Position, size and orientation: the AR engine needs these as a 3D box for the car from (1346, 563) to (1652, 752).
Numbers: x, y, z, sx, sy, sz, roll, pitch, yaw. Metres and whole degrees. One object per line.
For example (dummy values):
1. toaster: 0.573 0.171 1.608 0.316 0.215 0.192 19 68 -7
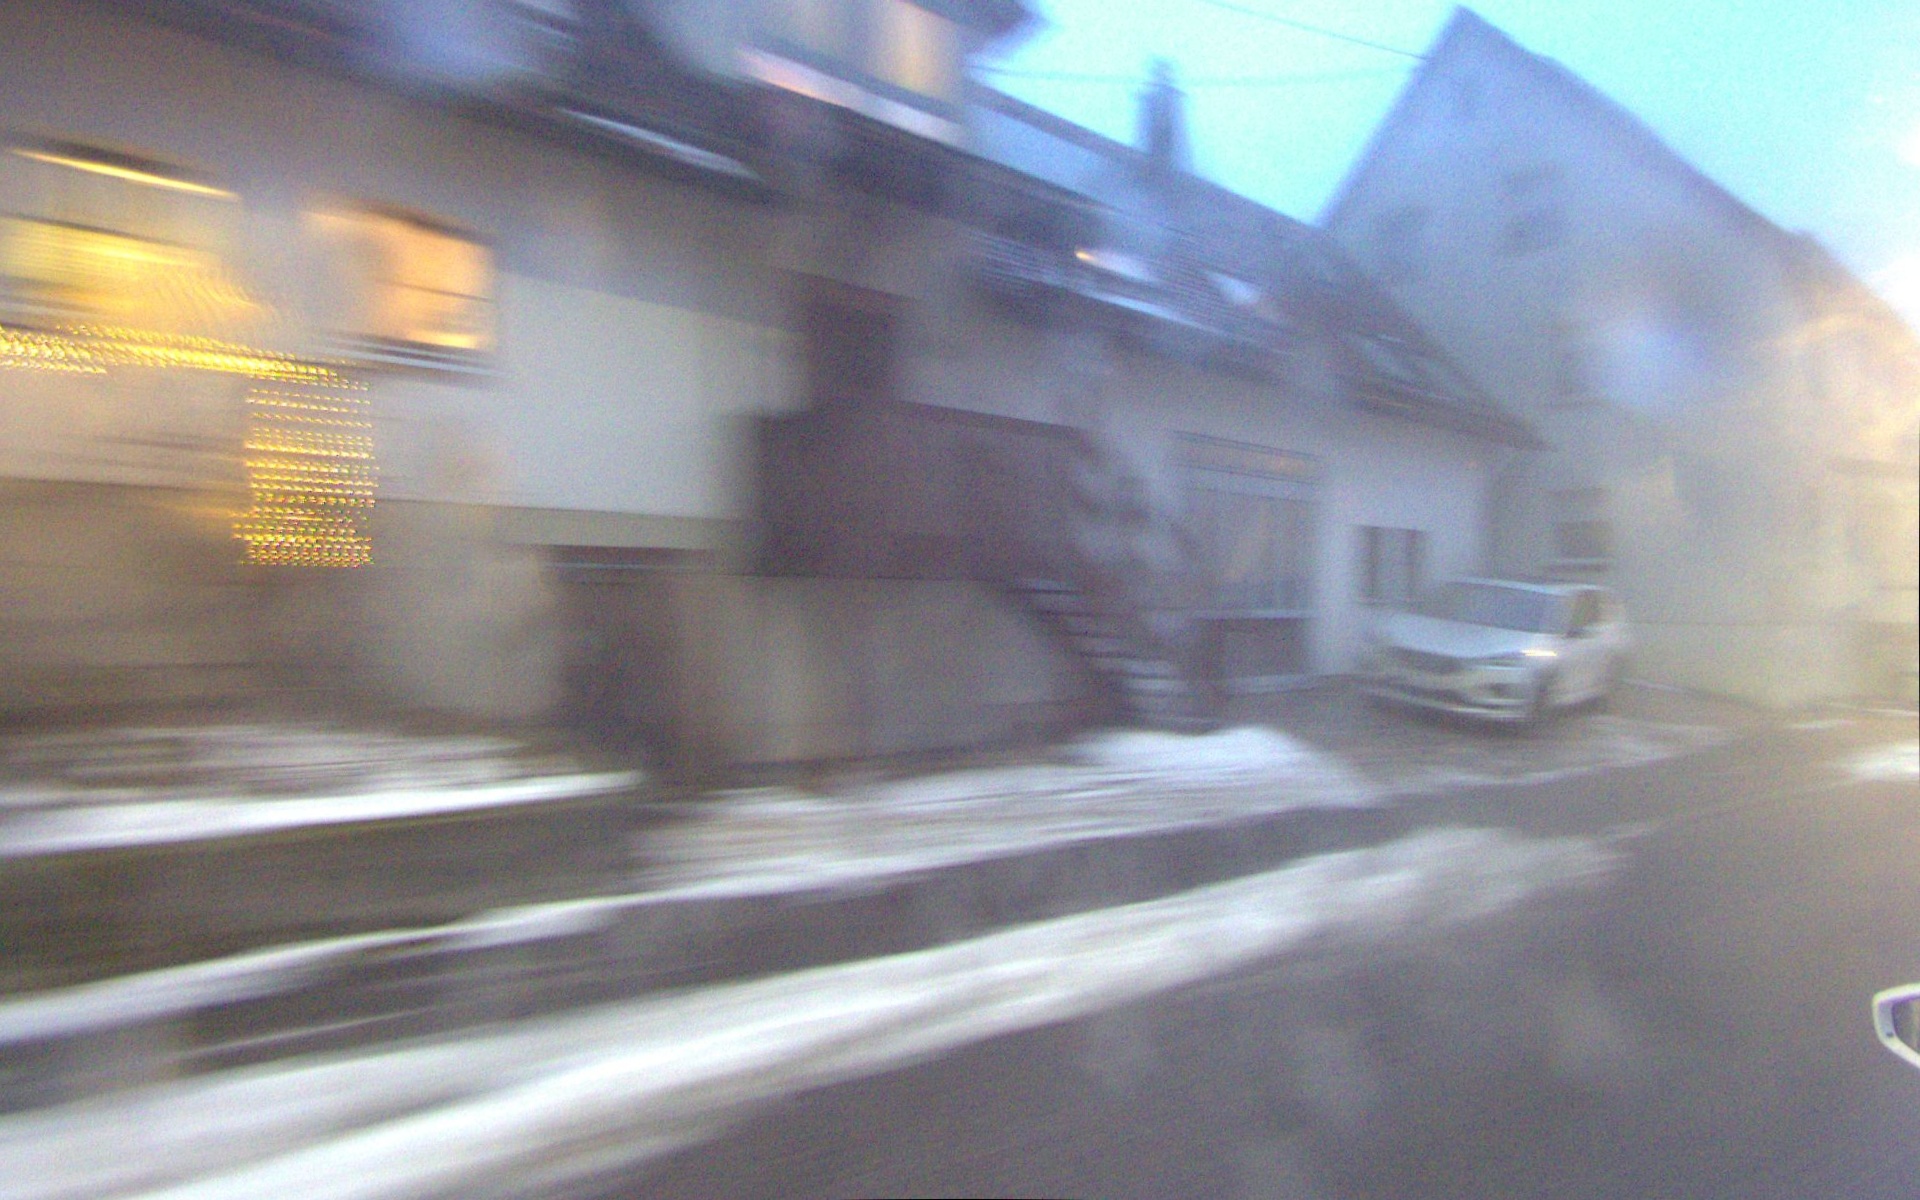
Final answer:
1. car: 6.636 0.515 12.126 4.605 1.760 1.747 -1 6 -43

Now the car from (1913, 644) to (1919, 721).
1. car: 21.532 1.714 20.799 4.153 1.543 1.978 0 3 -38
